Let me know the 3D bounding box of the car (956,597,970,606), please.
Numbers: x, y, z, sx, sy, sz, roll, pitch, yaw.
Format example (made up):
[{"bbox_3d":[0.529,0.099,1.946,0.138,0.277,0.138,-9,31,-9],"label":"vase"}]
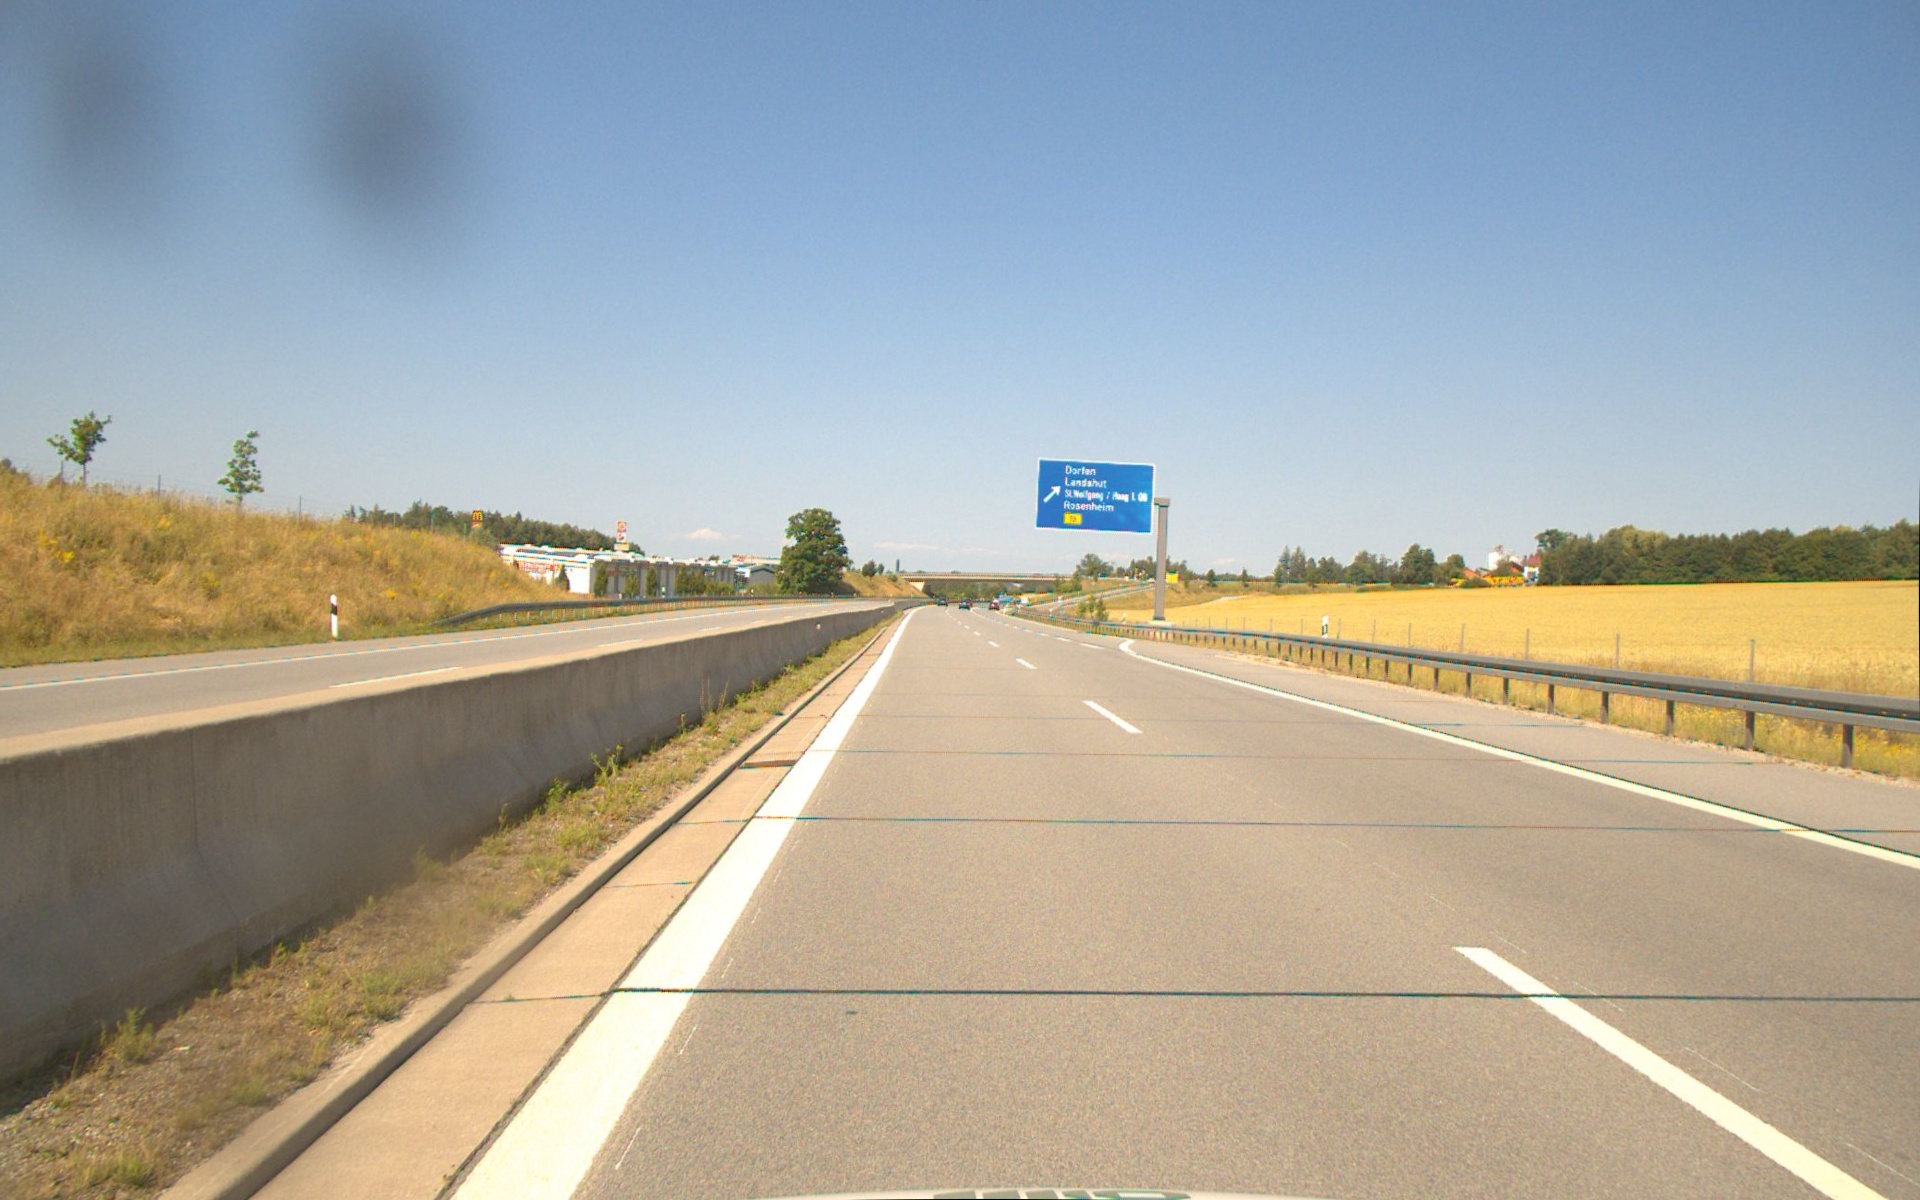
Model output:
[{"bbox_3d":[0.520,0.226,261.178,1.952,1.445,4.001,2,0,2],"label":"car"}]
